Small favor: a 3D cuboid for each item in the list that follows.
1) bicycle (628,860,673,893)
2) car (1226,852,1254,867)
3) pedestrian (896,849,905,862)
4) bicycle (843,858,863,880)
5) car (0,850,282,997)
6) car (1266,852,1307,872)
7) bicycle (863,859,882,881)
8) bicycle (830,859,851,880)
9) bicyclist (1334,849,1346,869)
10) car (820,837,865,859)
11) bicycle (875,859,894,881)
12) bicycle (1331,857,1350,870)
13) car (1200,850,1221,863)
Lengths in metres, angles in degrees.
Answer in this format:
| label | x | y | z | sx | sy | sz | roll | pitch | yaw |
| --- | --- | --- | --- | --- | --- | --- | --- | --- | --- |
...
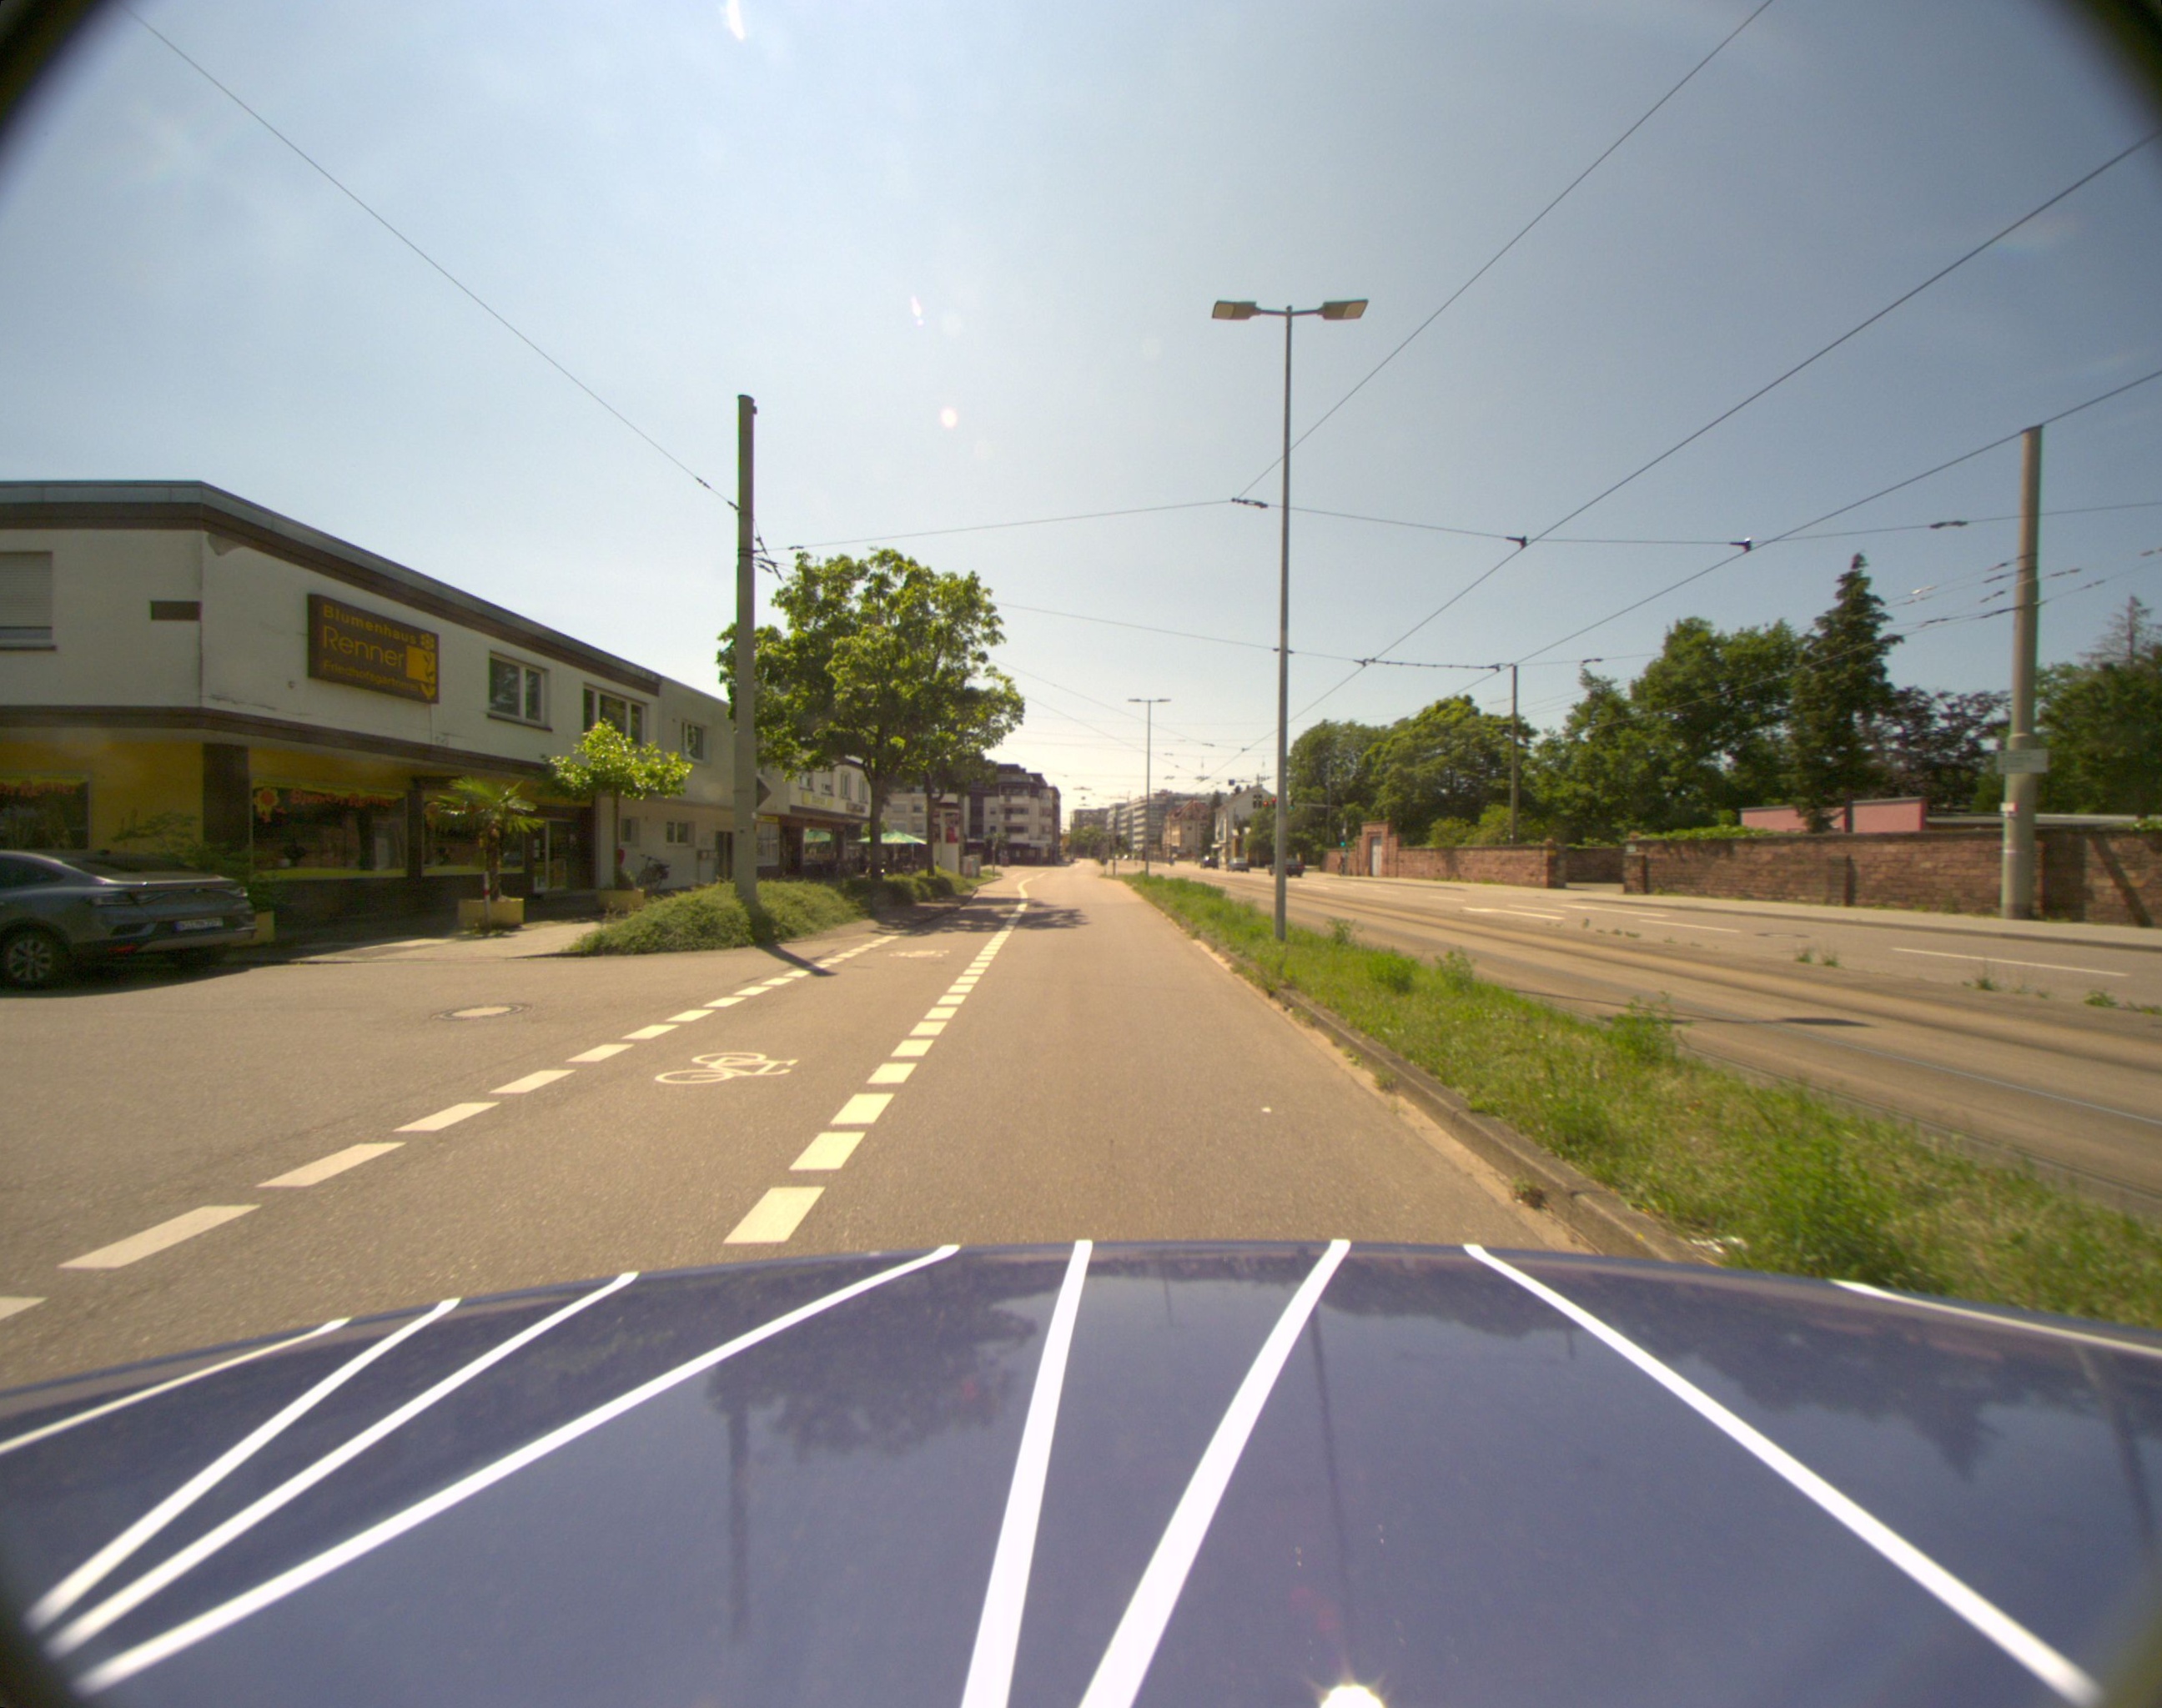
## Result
| label | x | y | z | sx | sy | sz | roll | pitch | yaw |
| --- | --- | --- | --- | --- | --- | --- | --- | --- | --- |
| bicycle | -14.514 | 0.739 | 25.692 | 0.544 | 1.062 | 1.900 | 0 | 0 | -3 |
| car | 16.180 | 0.496 | 77.387 | 1.845 | 1.408 | 4.710 | -3 | 0 | 1 |
| pedestrian | -21.754 | 0.185 | 91.649 | 0.806 | 1.615 | 0.943 | 0 | 1 | 7 |
| bicycle | -11.799 | 0.765 | 39.311 | 0.544 | 1.062 | 2.021 | 0 | 0 | -3 |
| car | -12.899 | 0.759 | 9.252 | 4.150 | 1.601 | 1.944 | 0 | 1 | -2 |
| car | 15.861 | 0.596 | 58.821 | 1.845 | 1.408 | 5.033 | -3 | 0 | 1 |
| bicycle | -10.720 | 0.817 | 39.167 | 0.544 | 1.062 | 2.021 | 0 | 0 | -3 |
| bicycle | -12.401 | 0.779 | 39.239 | 0.544 | 1.062 | 2.021 | 0 | 0 | -3 |
| bicyclist | 19.975 | 0.376 | 58.581 | 0.654 | 1.488 | 0.662 | 0 | 1 | -1 |
| car | -30.420 | -0.787 | 96.971 | 5.203 | 2.712 | 2.001 | 0 | 1 | 0 |
| bicycle | -10.133 | 0.819 | 39.180 | 0.544 | 1.062 | 2.021 | 0 | 0 | -3 |
| bicycle | 19.982 | 0.740 | 58.559 | 0.654 | 0.951 | 2.114 | 0 | 0 | -1 |
| car | 16.251 | 0.275 | 95.594 | 1.845 | 1.546 | 4.465 | 0 | 0 | 0 |
